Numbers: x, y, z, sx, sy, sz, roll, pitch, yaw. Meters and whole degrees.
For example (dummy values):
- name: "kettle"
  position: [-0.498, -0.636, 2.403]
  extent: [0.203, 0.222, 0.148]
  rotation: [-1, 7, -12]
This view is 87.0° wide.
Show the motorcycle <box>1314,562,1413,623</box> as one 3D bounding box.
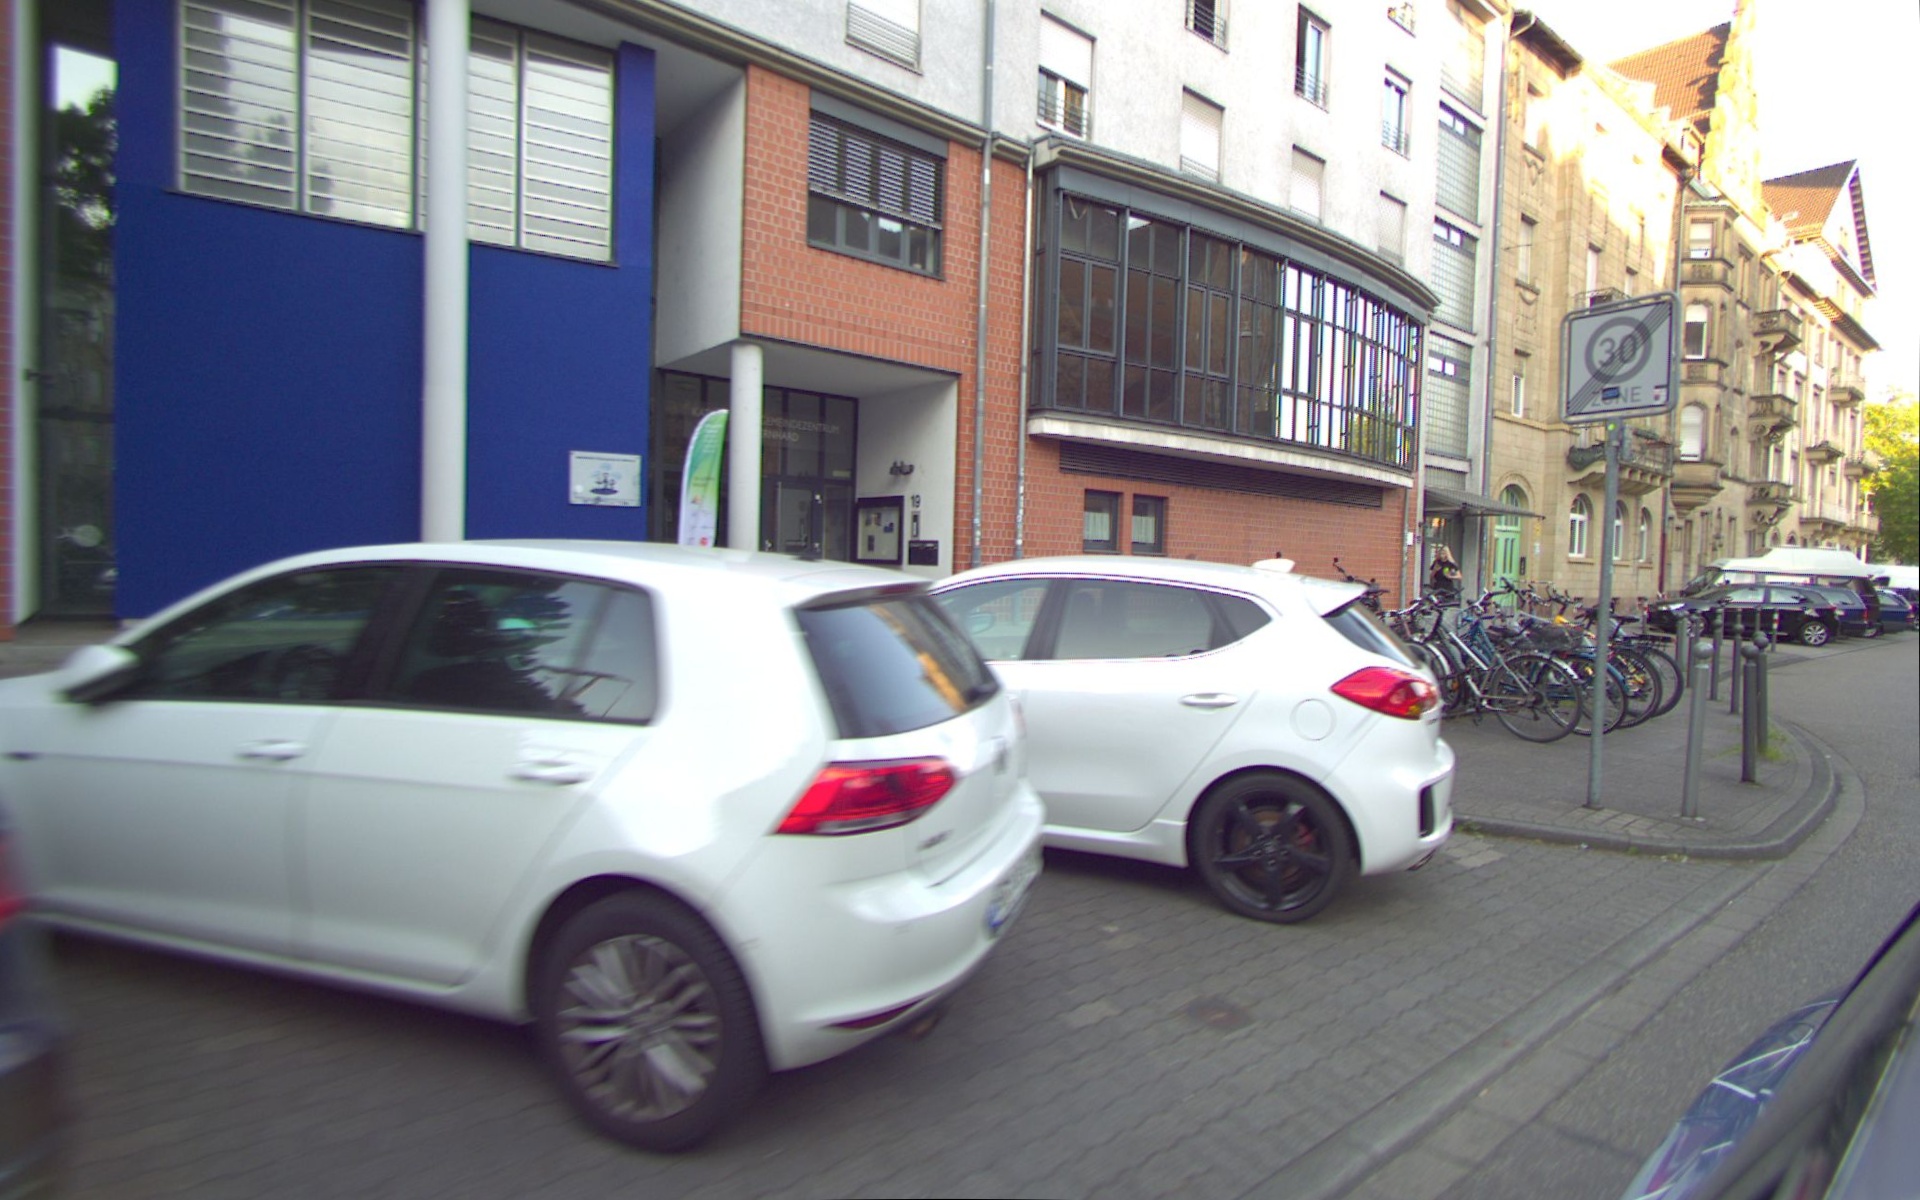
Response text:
- name: "motorcycle"
  position: [8.303, -0.165, 20.781]
  extent: [2.397, 1.153, 0.802]
  rotation: [0, 4, -41]

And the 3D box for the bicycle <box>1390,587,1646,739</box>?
- name: "bicycle"
  position: [4.788, 0.485, 8.818]
  extent: [0.438, 1.078, 1.862]
  rotation: [0, 4, -40]

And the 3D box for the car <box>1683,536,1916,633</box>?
- name: "car"
  position: [23.888, -0.495, 29.062]
  extent: [4.670, 2.577, 1.905]
  rotation: [2, 2, 22]

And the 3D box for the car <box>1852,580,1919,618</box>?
- name: "car"
  position: [41.503, 0.009, 43.512]
  extent: [4.190, 1.470, 1.994]
  rotation: [3, 3, 12]

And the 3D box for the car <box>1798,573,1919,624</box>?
- name: "car"
  position: [34.324, -0.060, 37.862]
  extent: [4.038, 1.626, 1.810]
  rotation: [4, 4, 13]

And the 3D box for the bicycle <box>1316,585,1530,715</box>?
- name: "bicycle"
  position: [4.460, 0.433, 9.892]
  extent: [0.395, 1.051, 1.862]
  rotation: [0, 4, -40]

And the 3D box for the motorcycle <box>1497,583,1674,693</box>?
- name: "motorcycle"
  position: [7.433, 0.407, 12.068]
  extent: [1.645, 1.115, 0.637]
  rotation: [6, 4, 42]

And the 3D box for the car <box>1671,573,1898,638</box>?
- name: "car"
  position: [22.087, 0.093, 27.346]
  extent: [4.308, 1.521, 1.899]
  rotation: [2, 2, 23]

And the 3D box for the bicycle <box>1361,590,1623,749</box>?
- name: "bicycle"
  position: [4.391, 0.521, 8.497]
  extent: [0.438, 1.078, 1.862]
  rotation: [0, 4, -40]

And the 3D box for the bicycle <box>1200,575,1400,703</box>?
- name: "bicycle"
  position: [3.365, 0.340, 10.181]
  extent: [0.515, 1.078, 1.862]
  rotation: [0, 4, -40]

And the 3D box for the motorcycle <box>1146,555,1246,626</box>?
- name: "motorcycle"
  position: [4.091, -0.177, 17.444]
  extent: [2.049, 1.116, 0.589]
  rotation: [-1, 5, -43]

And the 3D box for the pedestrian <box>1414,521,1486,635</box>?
- name: "pedestrian"
  position: [9.268, -0.423, 19.160]
  extent: [0.842, 2.034, 0.610]
  rotation: [0, 11, -39]

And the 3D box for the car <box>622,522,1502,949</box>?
- name: "car"
  position: [0.426, 0.415, 5.247]
  extent: [3.953, 1.525, 1.758]
  rotation: [2, 2, 22]

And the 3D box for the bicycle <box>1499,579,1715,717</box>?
- name: "bicycle"
  position: [6.465, 0.433, 10.196]
  extent: [0.463, 1.190, 1.712]
  rotation: [0, 4, -40]

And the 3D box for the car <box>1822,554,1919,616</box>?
- name: "car"
  position: [43.112, -0.636, 45.775]
  extent: [5.790, 2.581, 2.192]
  rotation: [3, 4, 10]

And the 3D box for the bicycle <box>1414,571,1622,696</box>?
- name: "bicycle"
  position: [6.231, 0.324, 11.404]
  extent: [0.647, 1.159, 1.864]
  rotation: [0, 5, -39]

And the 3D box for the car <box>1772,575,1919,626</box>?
- name: "car"
  position: [31.999, -0.006, 36.284]
  extent: [4.001, 1.516, 1.747]
  rotation: [4, 4, 16]

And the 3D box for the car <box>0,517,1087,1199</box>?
- name: "car"
  position: [-1.673, 0.482, 3.632]
  extent: [3.947, 1.490, 1.866]
  rotation: [2, 3, 18]

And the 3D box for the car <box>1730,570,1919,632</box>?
- name: "car"
  position: [26.330, 0.011, 30.611]
  extent: [4.346, 1.504, 1.832]
  rotation: [5, 4, 21]

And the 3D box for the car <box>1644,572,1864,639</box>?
- name: "car"
  position: [20.129, 0.097, 25.863]
  extent: [4.019, 1.510, 1.713]
  rotation: [2, 2, 20]

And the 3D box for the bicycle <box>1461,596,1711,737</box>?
- name: "bicycle"
  position: [5.704, 0.553, 9.336]
  extent: [0.463, 1.051, 1.862]
  rotation: [0, 4, -40]

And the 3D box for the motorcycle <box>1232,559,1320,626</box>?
- name: "motorcycle"
  position: [5.938, -0.164, 18.927]
  extent: [0.773, 1.153, 2.384]
  rotation: [4, 4, 37]

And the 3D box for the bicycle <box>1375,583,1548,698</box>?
- name: "bicycle"
  position: [5.309, 0.397, 10.791]
  extent: [0.463, 1.051, 1.543]
  rotation: [0, 4, -41]

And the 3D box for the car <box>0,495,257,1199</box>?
- name: "car"
  position: [-3.474, 0.560, 1.816]
  extent: [3.951, 1.541, 1.699]
  rotation: [2, 3, 20]

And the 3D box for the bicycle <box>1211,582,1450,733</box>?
- name: "bicycle"
  position: [3.175, 0.442, 8.870]
  extent: [0.515, 1.078, 1.916]
  rotation: [0, 4, -40]
